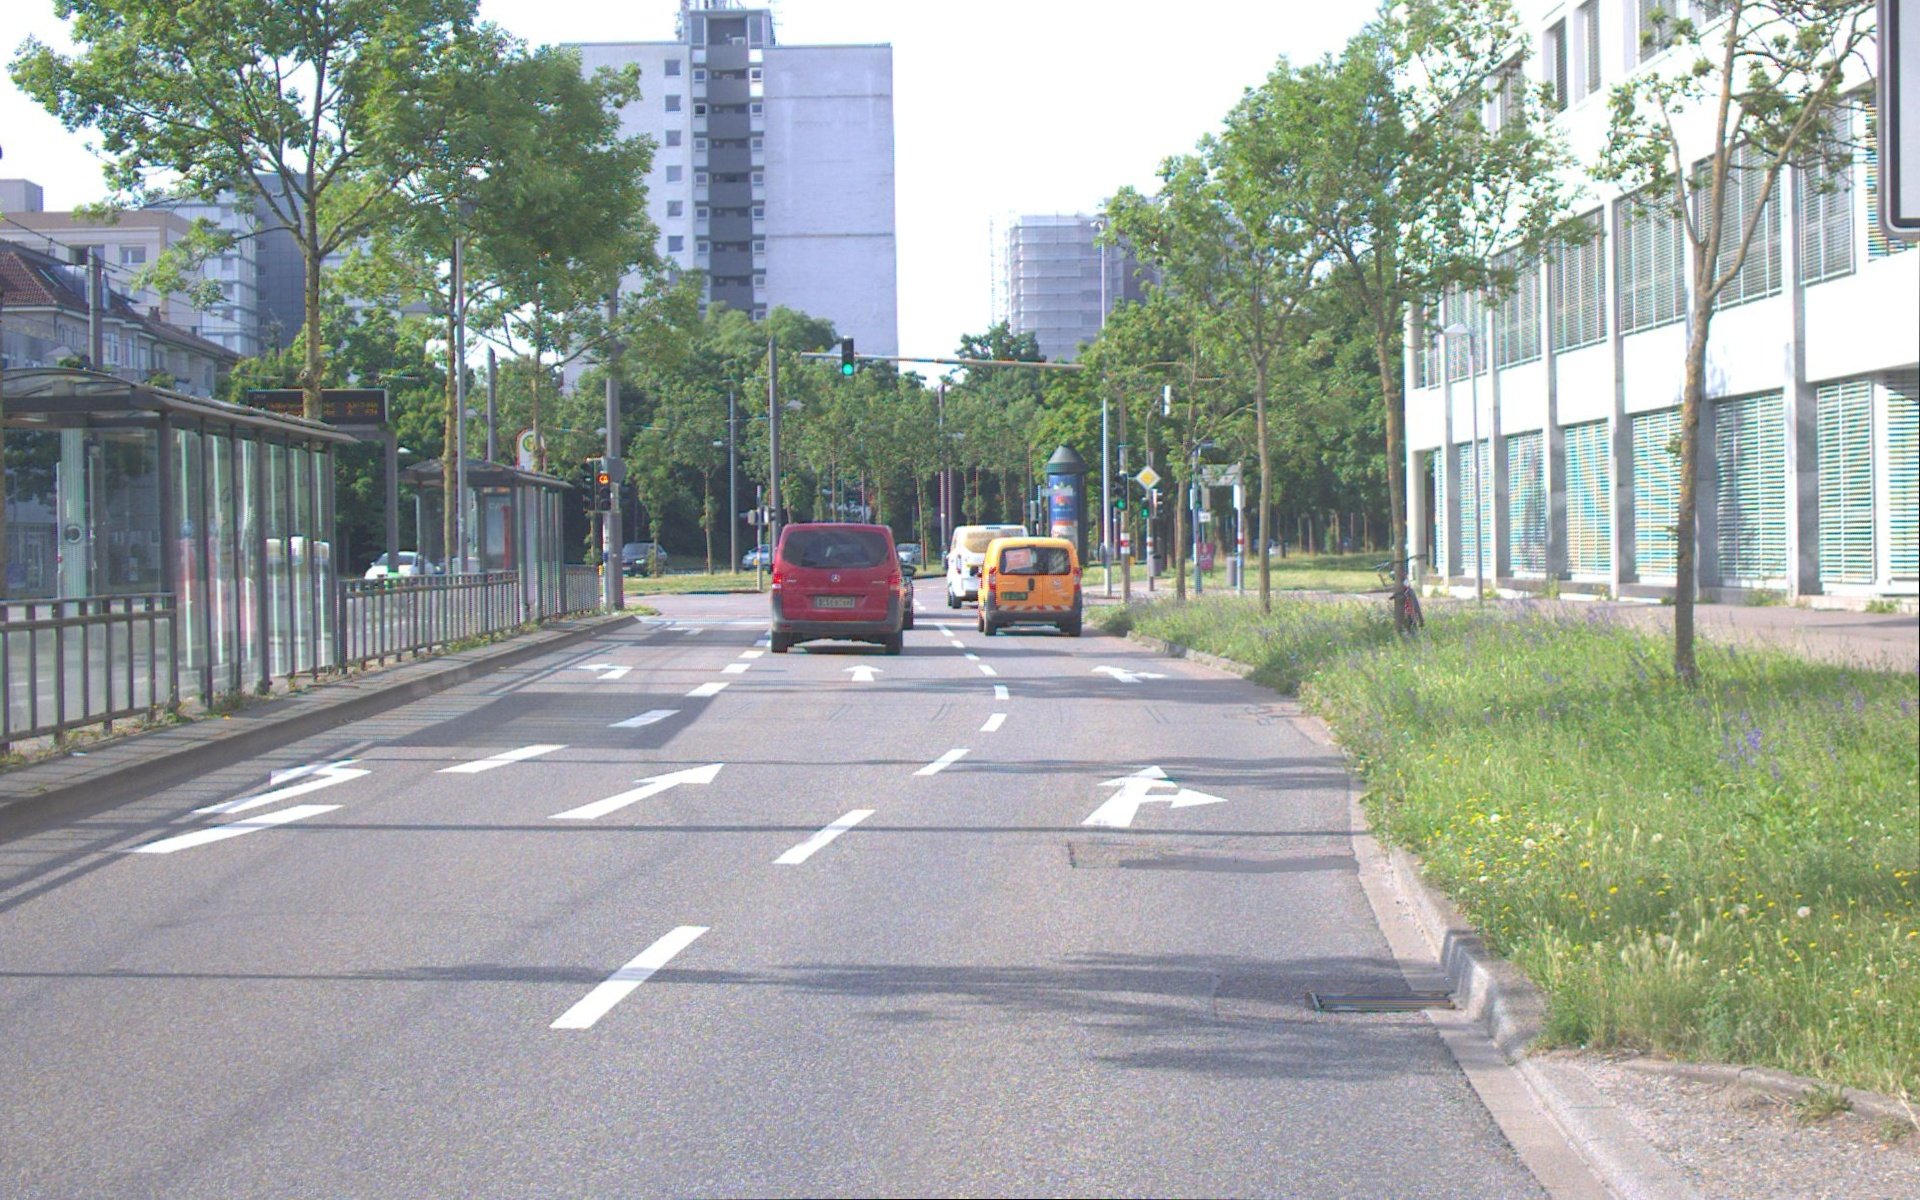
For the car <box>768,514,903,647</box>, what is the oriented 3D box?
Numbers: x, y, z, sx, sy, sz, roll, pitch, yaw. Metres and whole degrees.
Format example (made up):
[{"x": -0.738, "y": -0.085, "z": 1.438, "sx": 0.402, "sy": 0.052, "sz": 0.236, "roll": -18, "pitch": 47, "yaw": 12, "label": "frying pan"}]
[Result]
[{"x": -1.844, "y": -0.306, "z": 50.186, "sx": 1.874, "sy": 1.847, "sz": 4.001, "roll": 0, "pitch": 1, "yaw": -3, "label": "car"}]

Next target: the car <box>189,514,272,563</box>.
[{"x": -24.603, "y": -2.048, "z": 116.064, "sx": 1.993, "sy": 1.590, "sz": 4.000, "roll": 1, "pitch": 1, "yaw": -1, "label": "car"}]

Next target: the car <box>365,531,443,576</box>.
[{"x": -20.015, "y": -1.667, "z": 123.867, "sx": 1.993, "sy": 1.590, "sz": 4.049, "roll": 1, "pitch": 1, "yaw": 2, "label": "car"}]

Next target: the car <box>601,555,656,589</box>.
[{"x": -15.435, "y": -1.310, "z": 160.316, "sx": 1.875, "sy": 1.568, "sz": 4.000, "roll": 0, "pitch": 1, "yaw": 4, "label": "car"}]

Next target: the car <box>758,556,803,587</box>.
[{"x": -9.568, "y": -1.521, "z": 183.331, "sx": 1.875, "sy": 1.568, "sz": 3.999, "roll": 1, "pitch": 1, "yaw": 5, "label": "car"}]

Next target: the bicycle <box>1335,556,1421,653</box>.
[{"x": 4.509, "y": 0.039, "z": 37.174, "sx": 0.617, "sy": 1.013, "sz": 1.880, "roll": 0, "pitch": 1, "yaw": -3, "label": "bicycle"}]

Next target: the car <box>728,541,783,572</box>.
[{"x": -11.249, "y": -2.398, "z": 189.315, "sx": 1.876, "sy": 1.568, "sz": 4.219, "roll": -2, "pitch": 1, "yaw": 13, "label": "car"}]

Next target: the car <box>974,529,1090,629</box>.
[{"x": 1.225, "y": -0.383, "z": 60.399, "sx": 1.875, "sy": 1.690, "sz": 3.974, "roll": 0, "pitch": 1, "yaw": -1, "label": "car"}]

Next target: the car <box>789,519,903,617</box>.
[{"x": -2.116, "y": -0.614, "z": 63.993, "sx": 1.993, "sy": 1.700, "sz": 4.000, "roll": -2, "pitch": 1, "yaw": -2, "label": "car"}]

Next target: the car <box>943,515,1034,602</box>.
[{"x": 0.651, "y": -0.984, "z": 82.399, "sx": 1.993, "sy": 2.007, "sz": 4.000, "roll": 1, "pitch": 1, "yaw": -2, "label": "car"}]
